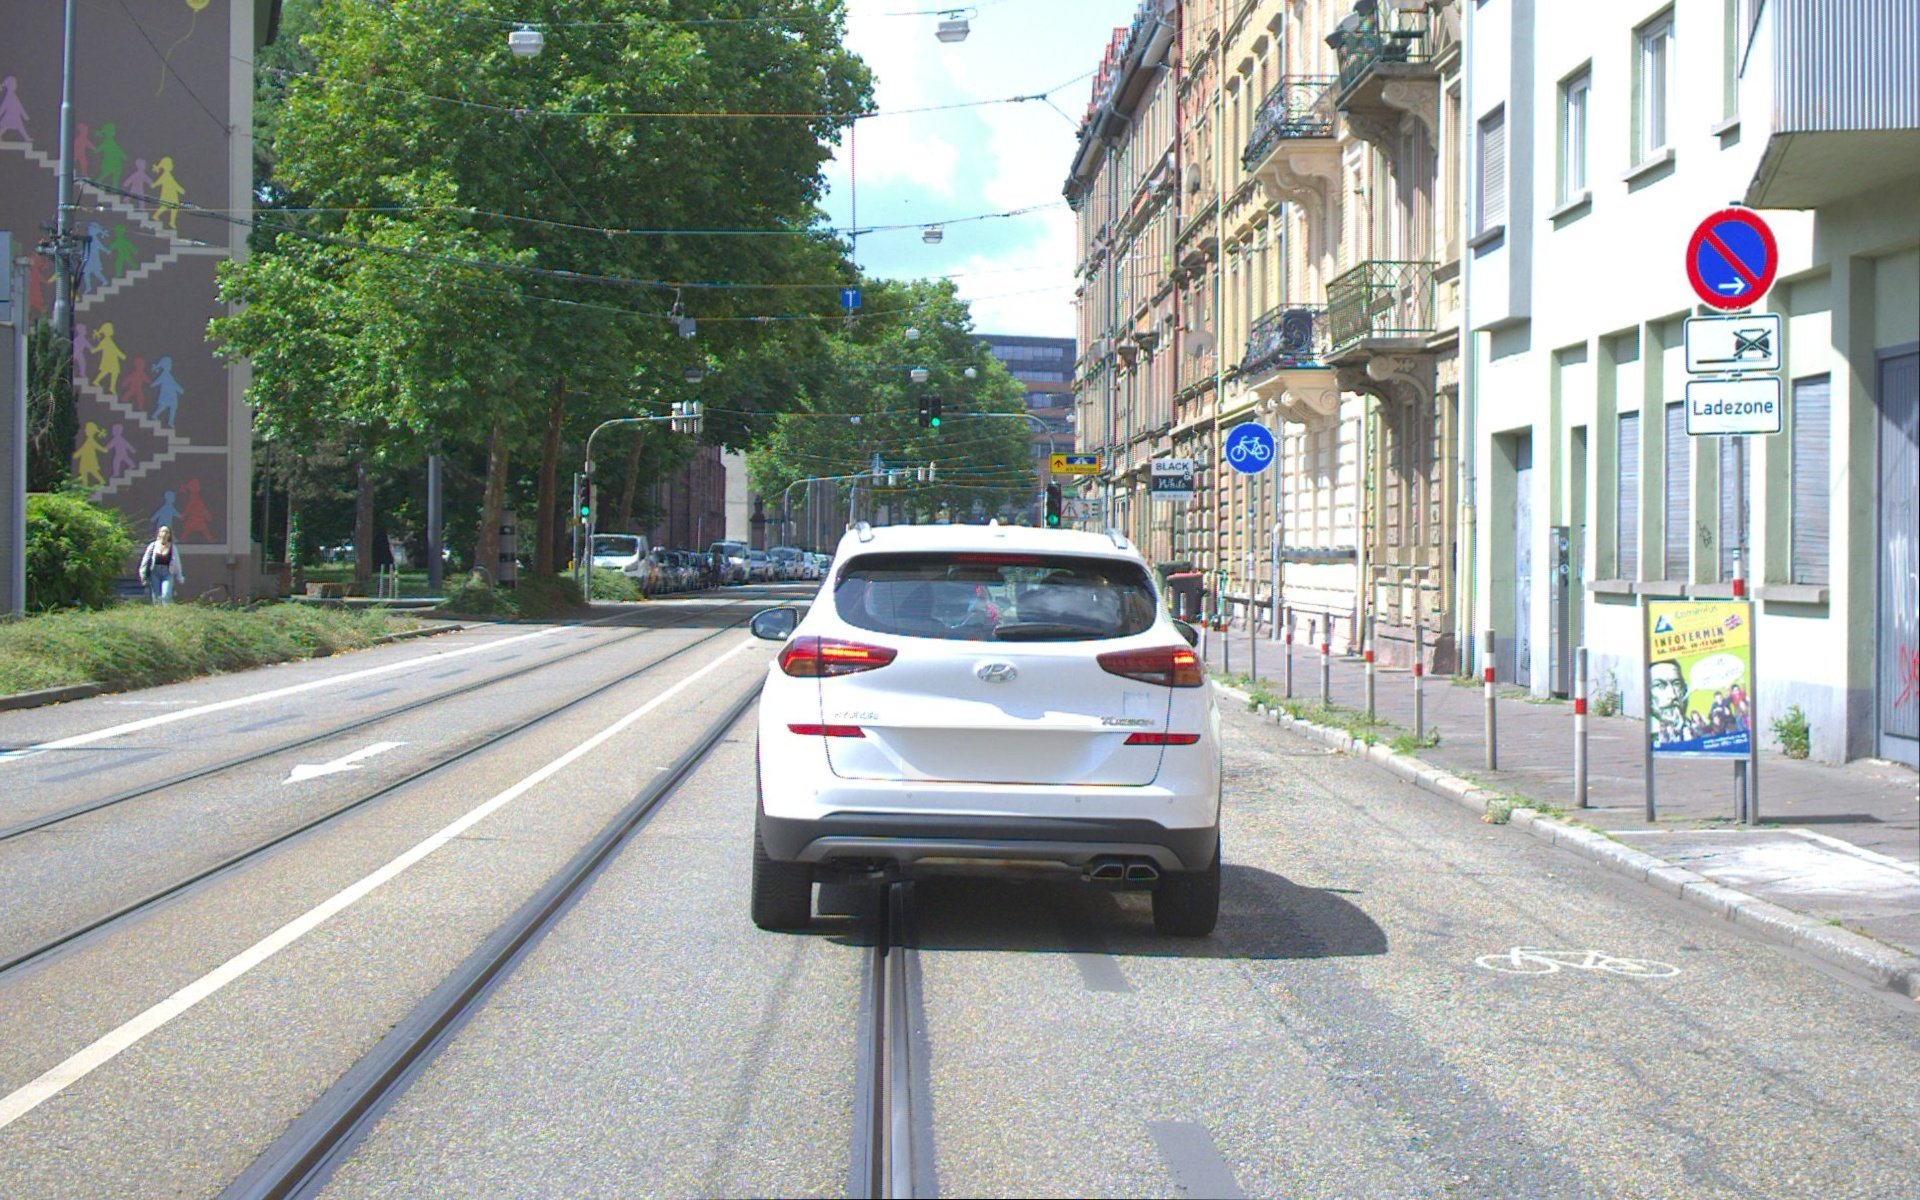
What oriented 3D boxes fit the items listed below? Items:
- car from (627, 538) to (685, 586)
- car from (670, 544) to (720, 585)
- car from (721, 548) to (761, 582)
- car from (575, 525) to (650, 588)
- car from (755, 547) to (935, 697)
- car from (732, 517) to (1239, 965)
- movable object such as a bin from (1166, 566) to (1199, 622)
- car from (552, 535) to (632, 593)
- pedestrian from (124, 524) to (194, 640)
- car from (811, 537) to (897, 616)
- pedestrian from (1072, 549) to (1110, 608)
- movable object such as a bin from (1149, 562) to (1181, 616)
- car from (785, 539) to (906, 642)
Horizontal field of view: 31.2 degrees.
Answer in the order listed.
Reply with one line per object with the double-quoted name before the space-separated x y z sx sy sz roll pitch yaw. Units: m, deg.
"car" -10.870 -1.367 123.129 1.950 1.626 4.001 1 1 -3
"car" -10.851 -1.470 140.836 1.950 1.626 4.001 1 1 -3
"car" -10.971 -1.748 172.091 1.950 1.626 4.001 1 1 -3
"car" -10.865 -1.362 107.710 1.950 1.888 4.566 1 1 -1
"car" -1.187 0.196 37.175 1.814 1.519 4.085 0 1 0
"car" -0.029 0.496 14.960 1.852 1.628 4.181 2 1 -3
"movable object such as a bin" 4.678 -0.129 72.189 0.612 1.139 0.638 1 1 -1
"car" -10.888 -1.079 101.976 1.950 1.626 4.576 1 1 -1
"pedestrian" -13.073 -0.297 56.150 0.880 1.859 1.081 0 1 -1
"car" -2.285 -0.529 74.915 1.814 1.656 4.085 1 1 -1
"pedestrian" 3.571 -0.597 93.619 0.938 1.567 1.050 1 1 -1
"movable object such as a bin" 4.389 -0.241 73.615 0.612 1.139 0.638 1 1 -1
"car" -1.771 -0.176 54.198 1.814 1.519 3.956 1 1 -1
